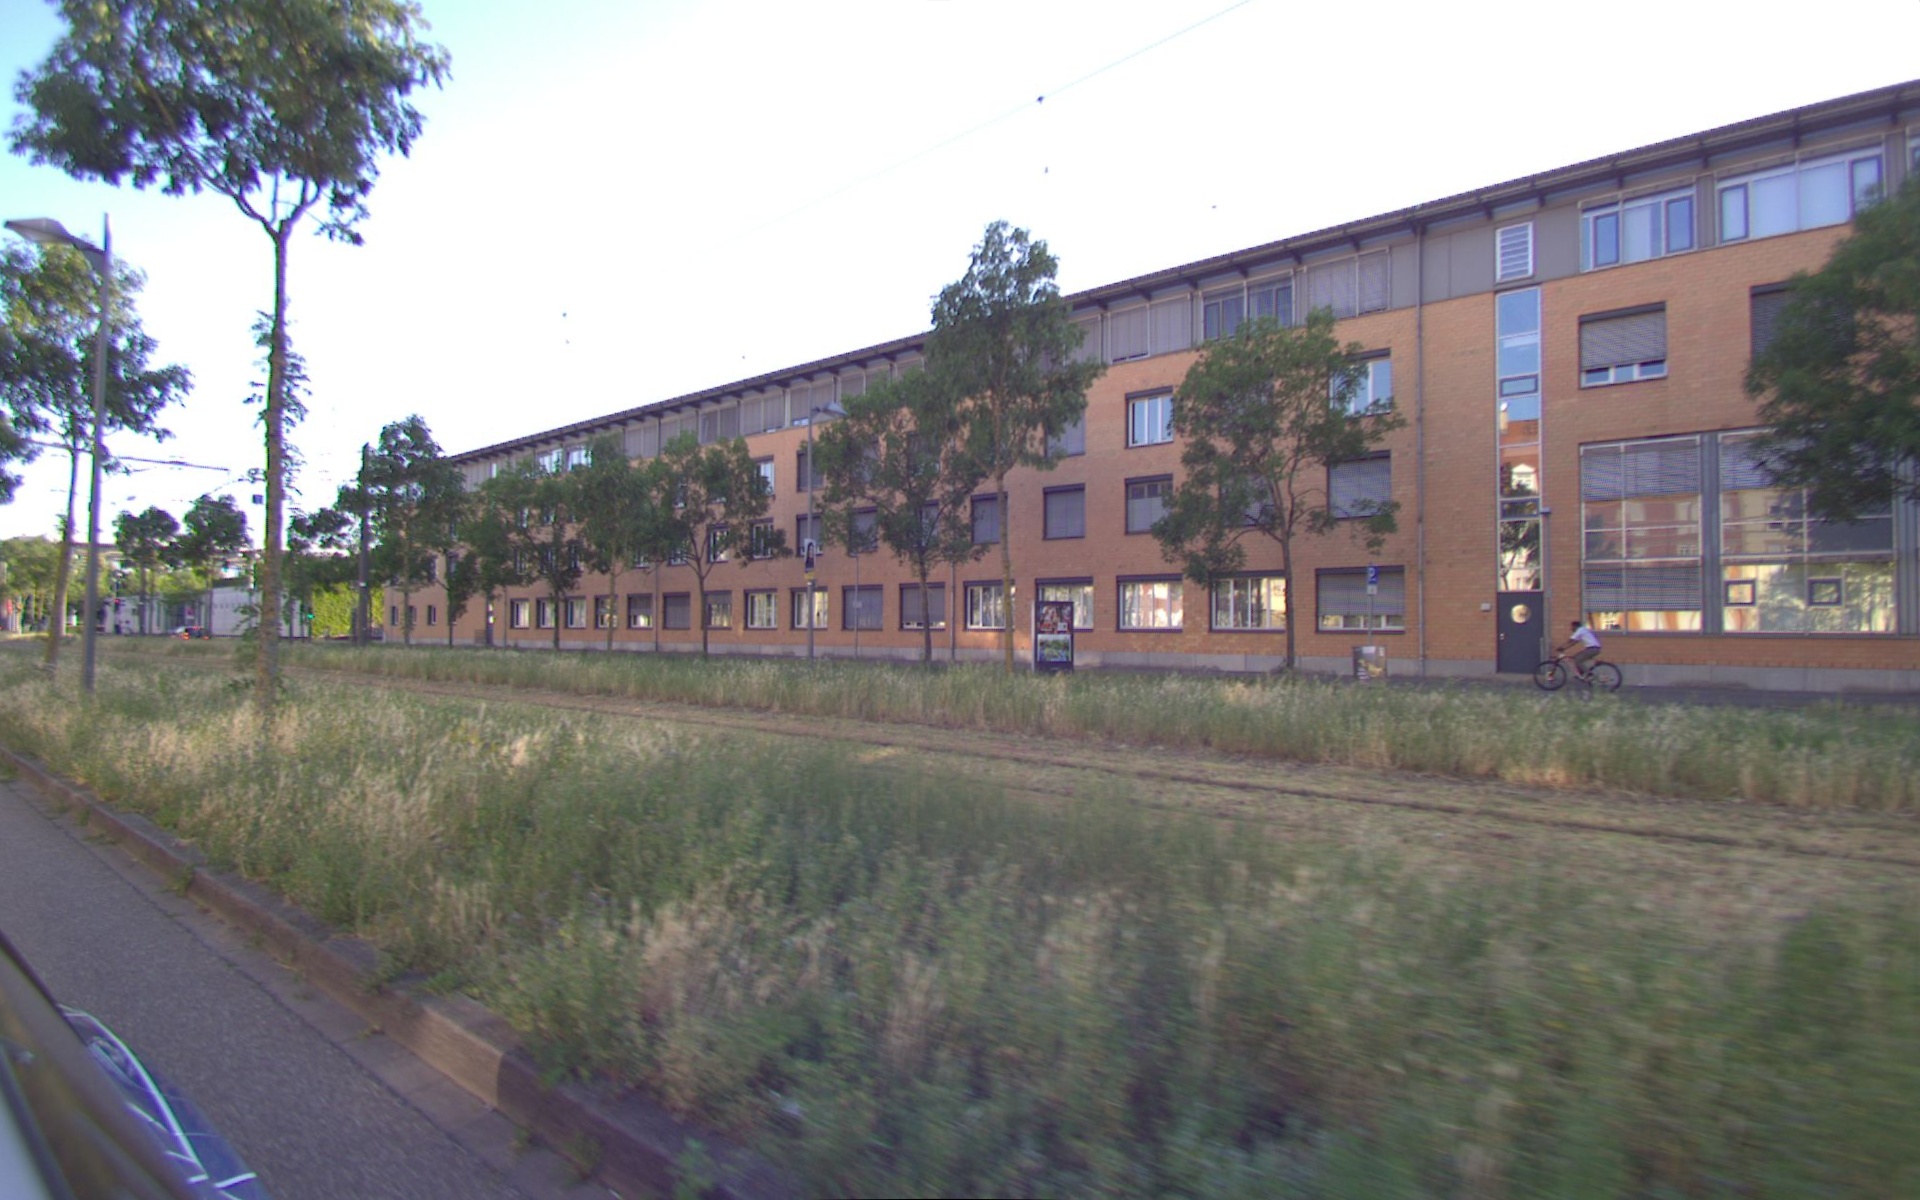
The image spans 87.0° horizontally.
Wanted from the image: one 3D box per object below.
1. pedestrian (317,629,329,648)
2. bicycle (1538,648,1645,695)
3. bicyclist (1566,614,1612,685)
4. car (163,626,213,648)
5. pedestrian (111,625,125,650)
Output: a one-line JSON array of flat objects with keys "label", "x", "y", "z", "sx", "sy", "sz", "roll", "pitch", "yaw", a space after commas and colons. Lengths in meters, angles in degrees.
[{"label": "pedestrian", "x": -47.476, "y": 2.875, "z": 75.456, "sx": 0.574, "sy": 1.378, "sz": 0.581, "roll": -1, "pitch": -2, "yaw": 35}, {"label": "bicycle", "x": 15.234, "y": 1.700, "z": 24.454, "sx": 2.093, "sy": 1.060, "sz": 0.702, "roll": -1, "pitch": -2, "yaw": 41}, {"label": "bicyclist", "x": 15.208, "y": 1.180, "z": 24.478, "sx": 0.825, "sy": 1.687, "sz": 0.688, "roll": -1, "pitch": -2, "yaw": 41}, {"label": "car", "x": -50.237, "y": 2.362, "z": 65.836, "sx": 3.997, "sy": 1.386, "sz": 1.772, "roll": -1, "pitch": -2, "yaw": 41}, {"label": "pedestrian", "x": -56.529, "y": 2.507, "z": 67.942, "sx": 0.544, "sy": 1.697, "sz": 0.512, "roll": -2, "pitch": -2, "yaw": 11}]
